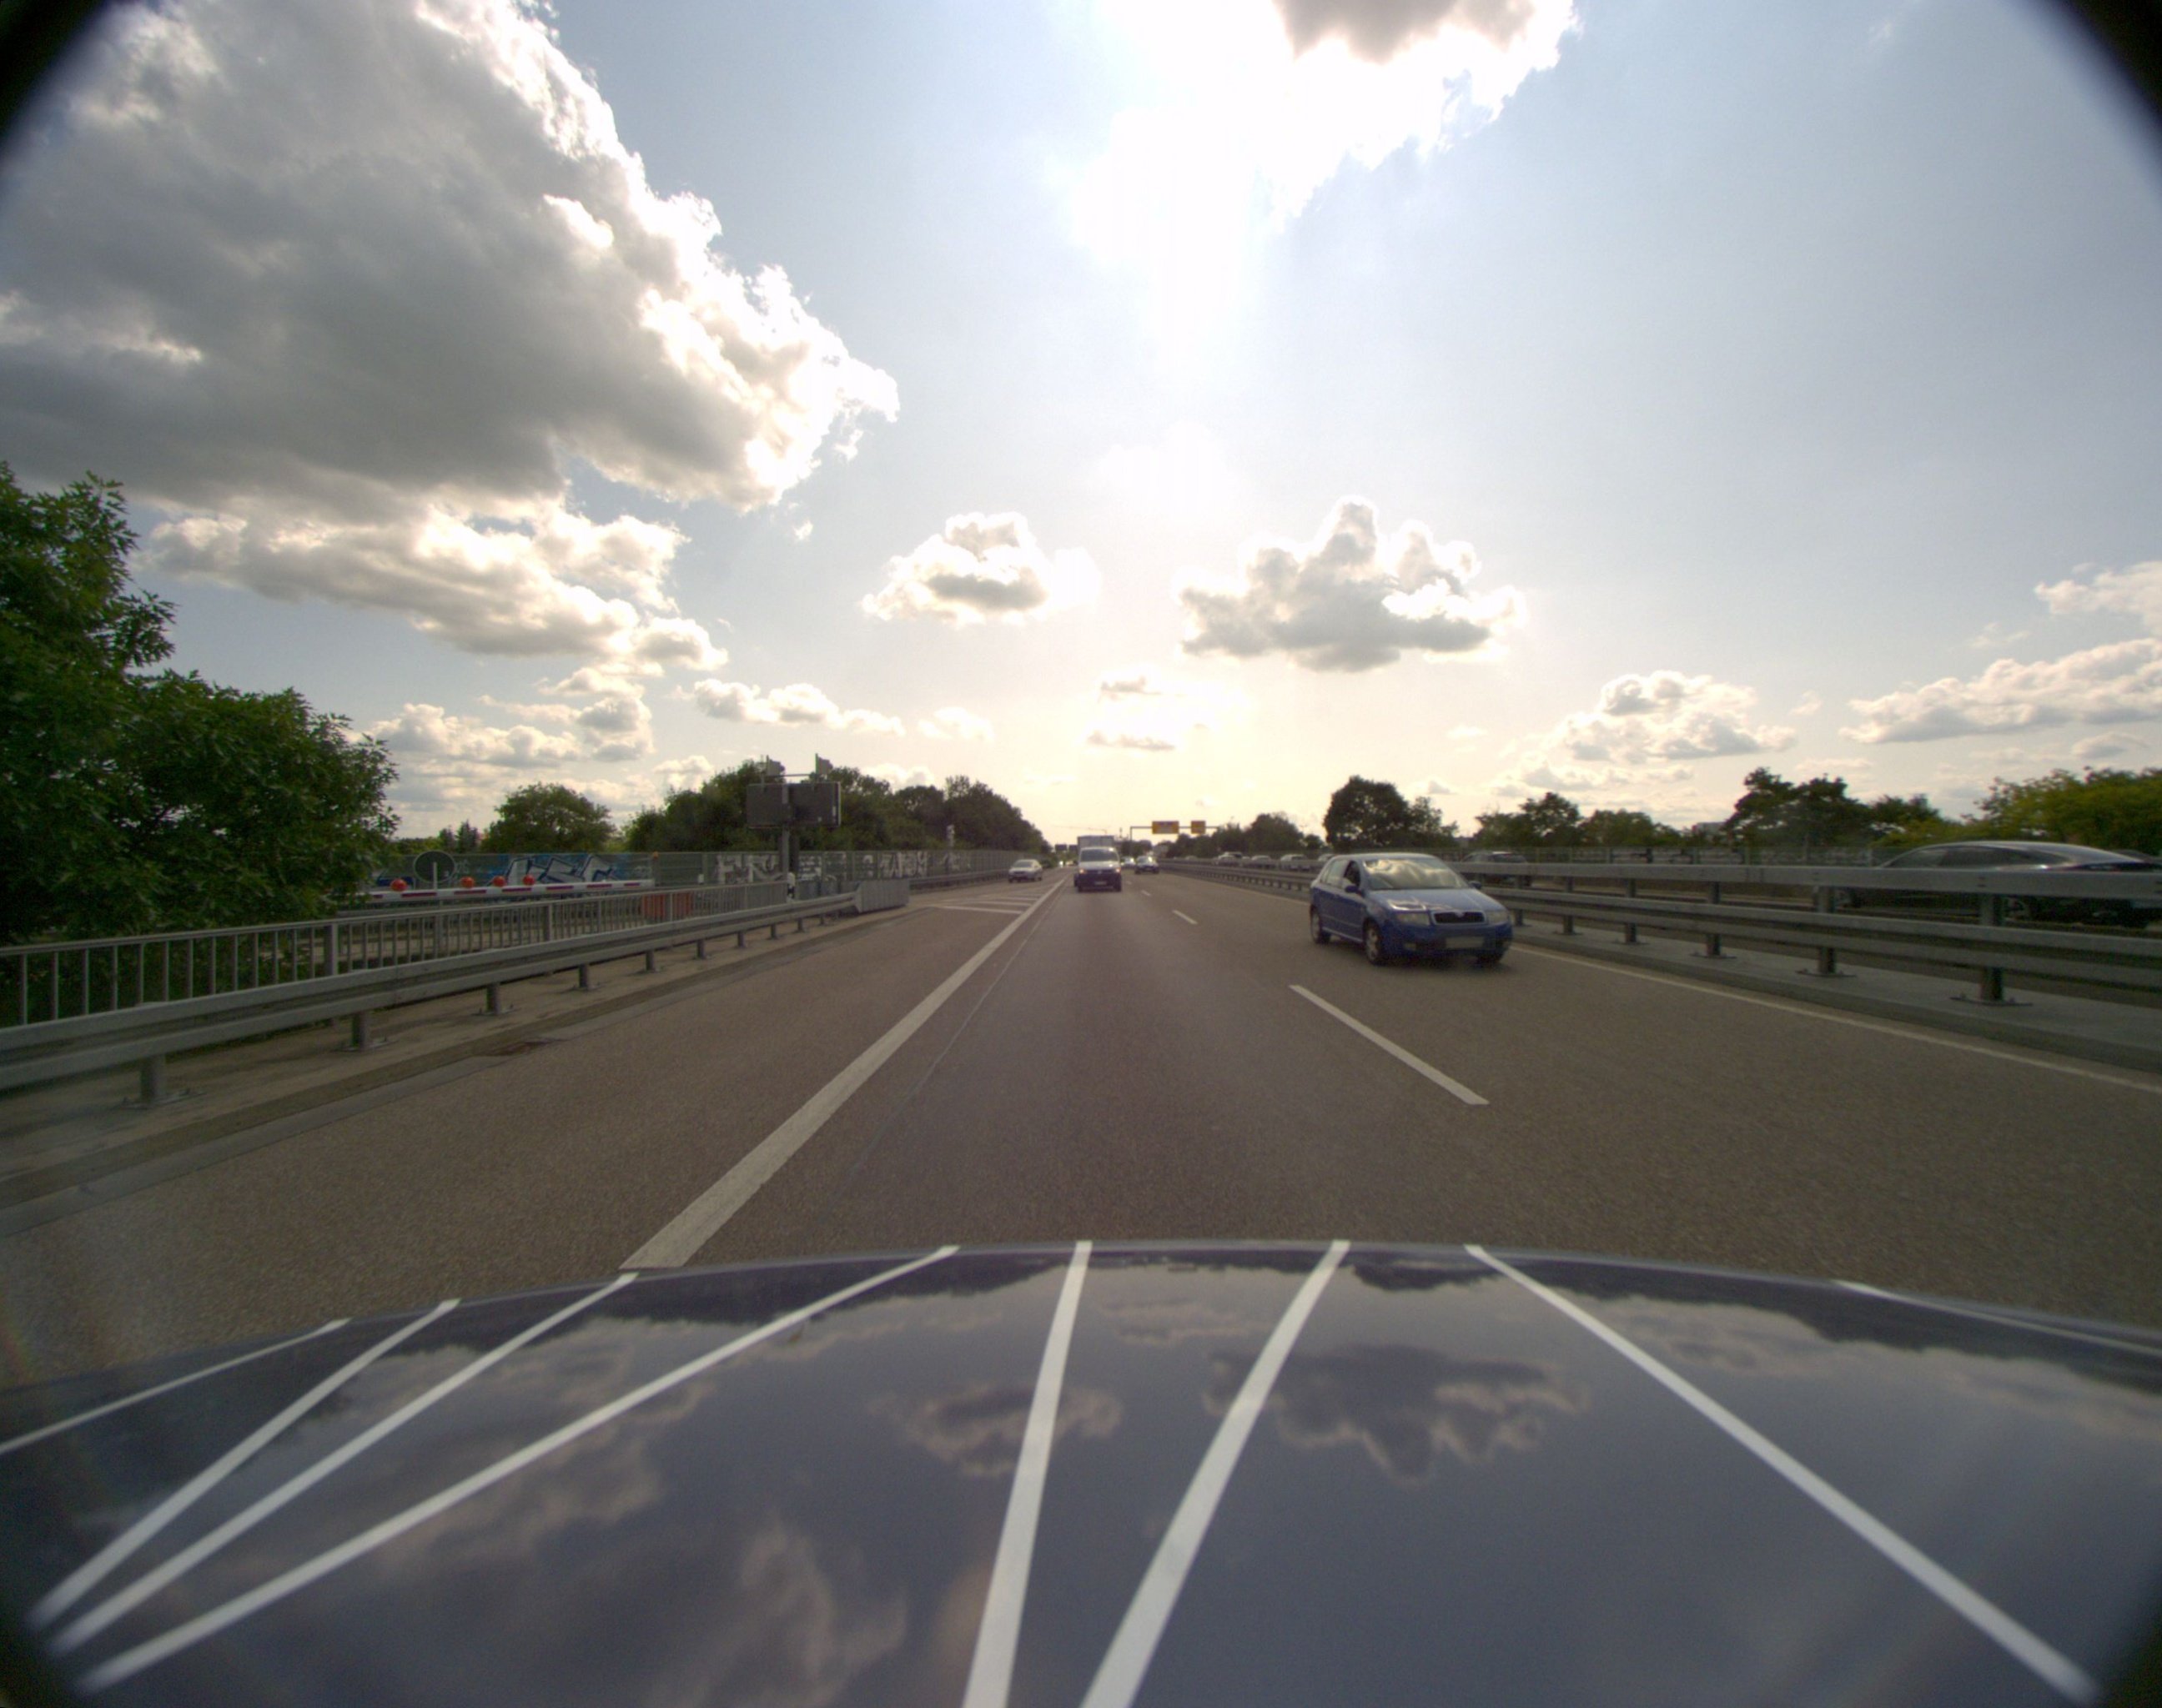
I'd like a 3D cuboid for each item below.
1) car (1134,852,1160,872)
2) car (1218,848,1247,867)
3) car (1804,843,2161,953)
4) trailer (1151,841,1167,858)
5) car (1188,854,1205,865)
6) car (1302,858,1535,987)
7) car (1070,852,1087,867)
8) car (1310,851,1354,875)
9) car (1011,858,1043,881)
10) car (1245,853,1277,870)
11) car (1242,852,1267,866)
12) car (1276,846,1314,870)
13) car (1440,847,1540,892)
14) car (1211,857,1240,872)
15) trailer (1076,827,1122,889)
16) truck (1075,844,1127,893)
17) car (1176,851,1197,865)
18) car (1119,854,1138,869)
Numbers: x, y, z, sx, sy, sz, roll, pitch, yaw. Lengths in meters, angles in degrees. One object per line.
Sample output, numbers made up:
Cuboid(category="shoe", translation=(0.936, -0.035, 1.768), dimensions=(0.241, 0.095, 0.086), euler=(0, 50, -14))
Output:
Cuboid(category="car", translation=(5.395, 0.643, 62.397), dimensions=(1.779, 1.518, 4.464), euler=(-2, 0, 1))
Cuboid(category="car", translation=(16.788, 0.425, 84.564), dimensions=(1.965, 1.914, 5.191), euler=(-3, -1, -2))
Cuboid(category="car", translation=(16.454, 0.669, 13.985), dimensions=(1.895, 1.630, 4.512), euler=(-2, 0, -1))
Cuboid(category="trailer", translation=(18.349, -1.105, 179.481), dimensions=(2.691, 3.648, 11.028), euler=(-2, 0, 1))
Cuboid(category="car", translation=(18.244, 0.835, 120.424), dimensions=(1.929, 1.565, 4.282), euler=(-1, 0, -1))
Cuboid(category="car", translation=(4.458, 0.803, 10.686), dimensions=(1.625, 1.403, 3.771), euler=(-2, 0, 1))
Cuboid(category="car", translation=(-0.257, 0.598, 86.945), dimensions=(1.802, 1.587, 3.985), euler=(-2, 0, 1))
Cuboid(category="car", translation=(16.622, 0.577, 50.478), dimensions=(1.602, 1.466, 3.630), euler=(1, 0, -1))
Cuboid(category="car", translation=(-3.586, 0.995, 50.761), dimensions=(1.768, 1.403, 3.771), euler=(-2, 0, 1))
Cuboid(category="car", translation=(16.376, 0.697, 69.390), dimensions=(1.789, 1.381, 4.047), euler=(-2, -1, -1))
Cuboid(category="car", translation=(20.742, 0.549, 90.989), dimensions=(1.929, 1.565, 4.282), euler=(-1, 0, -1))
Cuboid(category="car", translation=(16.658, 0.345, 59.459), dimensions=(1.586, 1.700, 4.410), euler=(-2, -1, -1))
Cuboid(category="car", translation=(16.218, 0.576, 30.366), dimensions=(1.826, 1.629, 4.000), euler=(-2, 0, 0))
Cuboid(category="car", translation=(12.271, 0.867, 64.561), dimensions=(1.685, 1.178, 4.000), euler=(-2, 0, 0))
Cuboid(category="trailer", translation=(0.815, 0.170, 37.274), dimensions=(1.998, 2.723, 5.966), euler=(-2, 0, 0))
Cuboid(category="truck", translation=(0.806, 0.575, 32.228), dimensions=(2.008, 1.905, 4.000), euler=(-1, 0, 0))
Cuboid(category="car", translation=(12.334, 0.478, 89.077), dimensions=(1.679, 1.562, 4.060), euler=(-2, 0, -1))
Cuboid(category="car", translation=(5.399, 0.808, 86.680), dimensions=(1.895, 1.518, 4.464), euler=(-2, 0, 1))
